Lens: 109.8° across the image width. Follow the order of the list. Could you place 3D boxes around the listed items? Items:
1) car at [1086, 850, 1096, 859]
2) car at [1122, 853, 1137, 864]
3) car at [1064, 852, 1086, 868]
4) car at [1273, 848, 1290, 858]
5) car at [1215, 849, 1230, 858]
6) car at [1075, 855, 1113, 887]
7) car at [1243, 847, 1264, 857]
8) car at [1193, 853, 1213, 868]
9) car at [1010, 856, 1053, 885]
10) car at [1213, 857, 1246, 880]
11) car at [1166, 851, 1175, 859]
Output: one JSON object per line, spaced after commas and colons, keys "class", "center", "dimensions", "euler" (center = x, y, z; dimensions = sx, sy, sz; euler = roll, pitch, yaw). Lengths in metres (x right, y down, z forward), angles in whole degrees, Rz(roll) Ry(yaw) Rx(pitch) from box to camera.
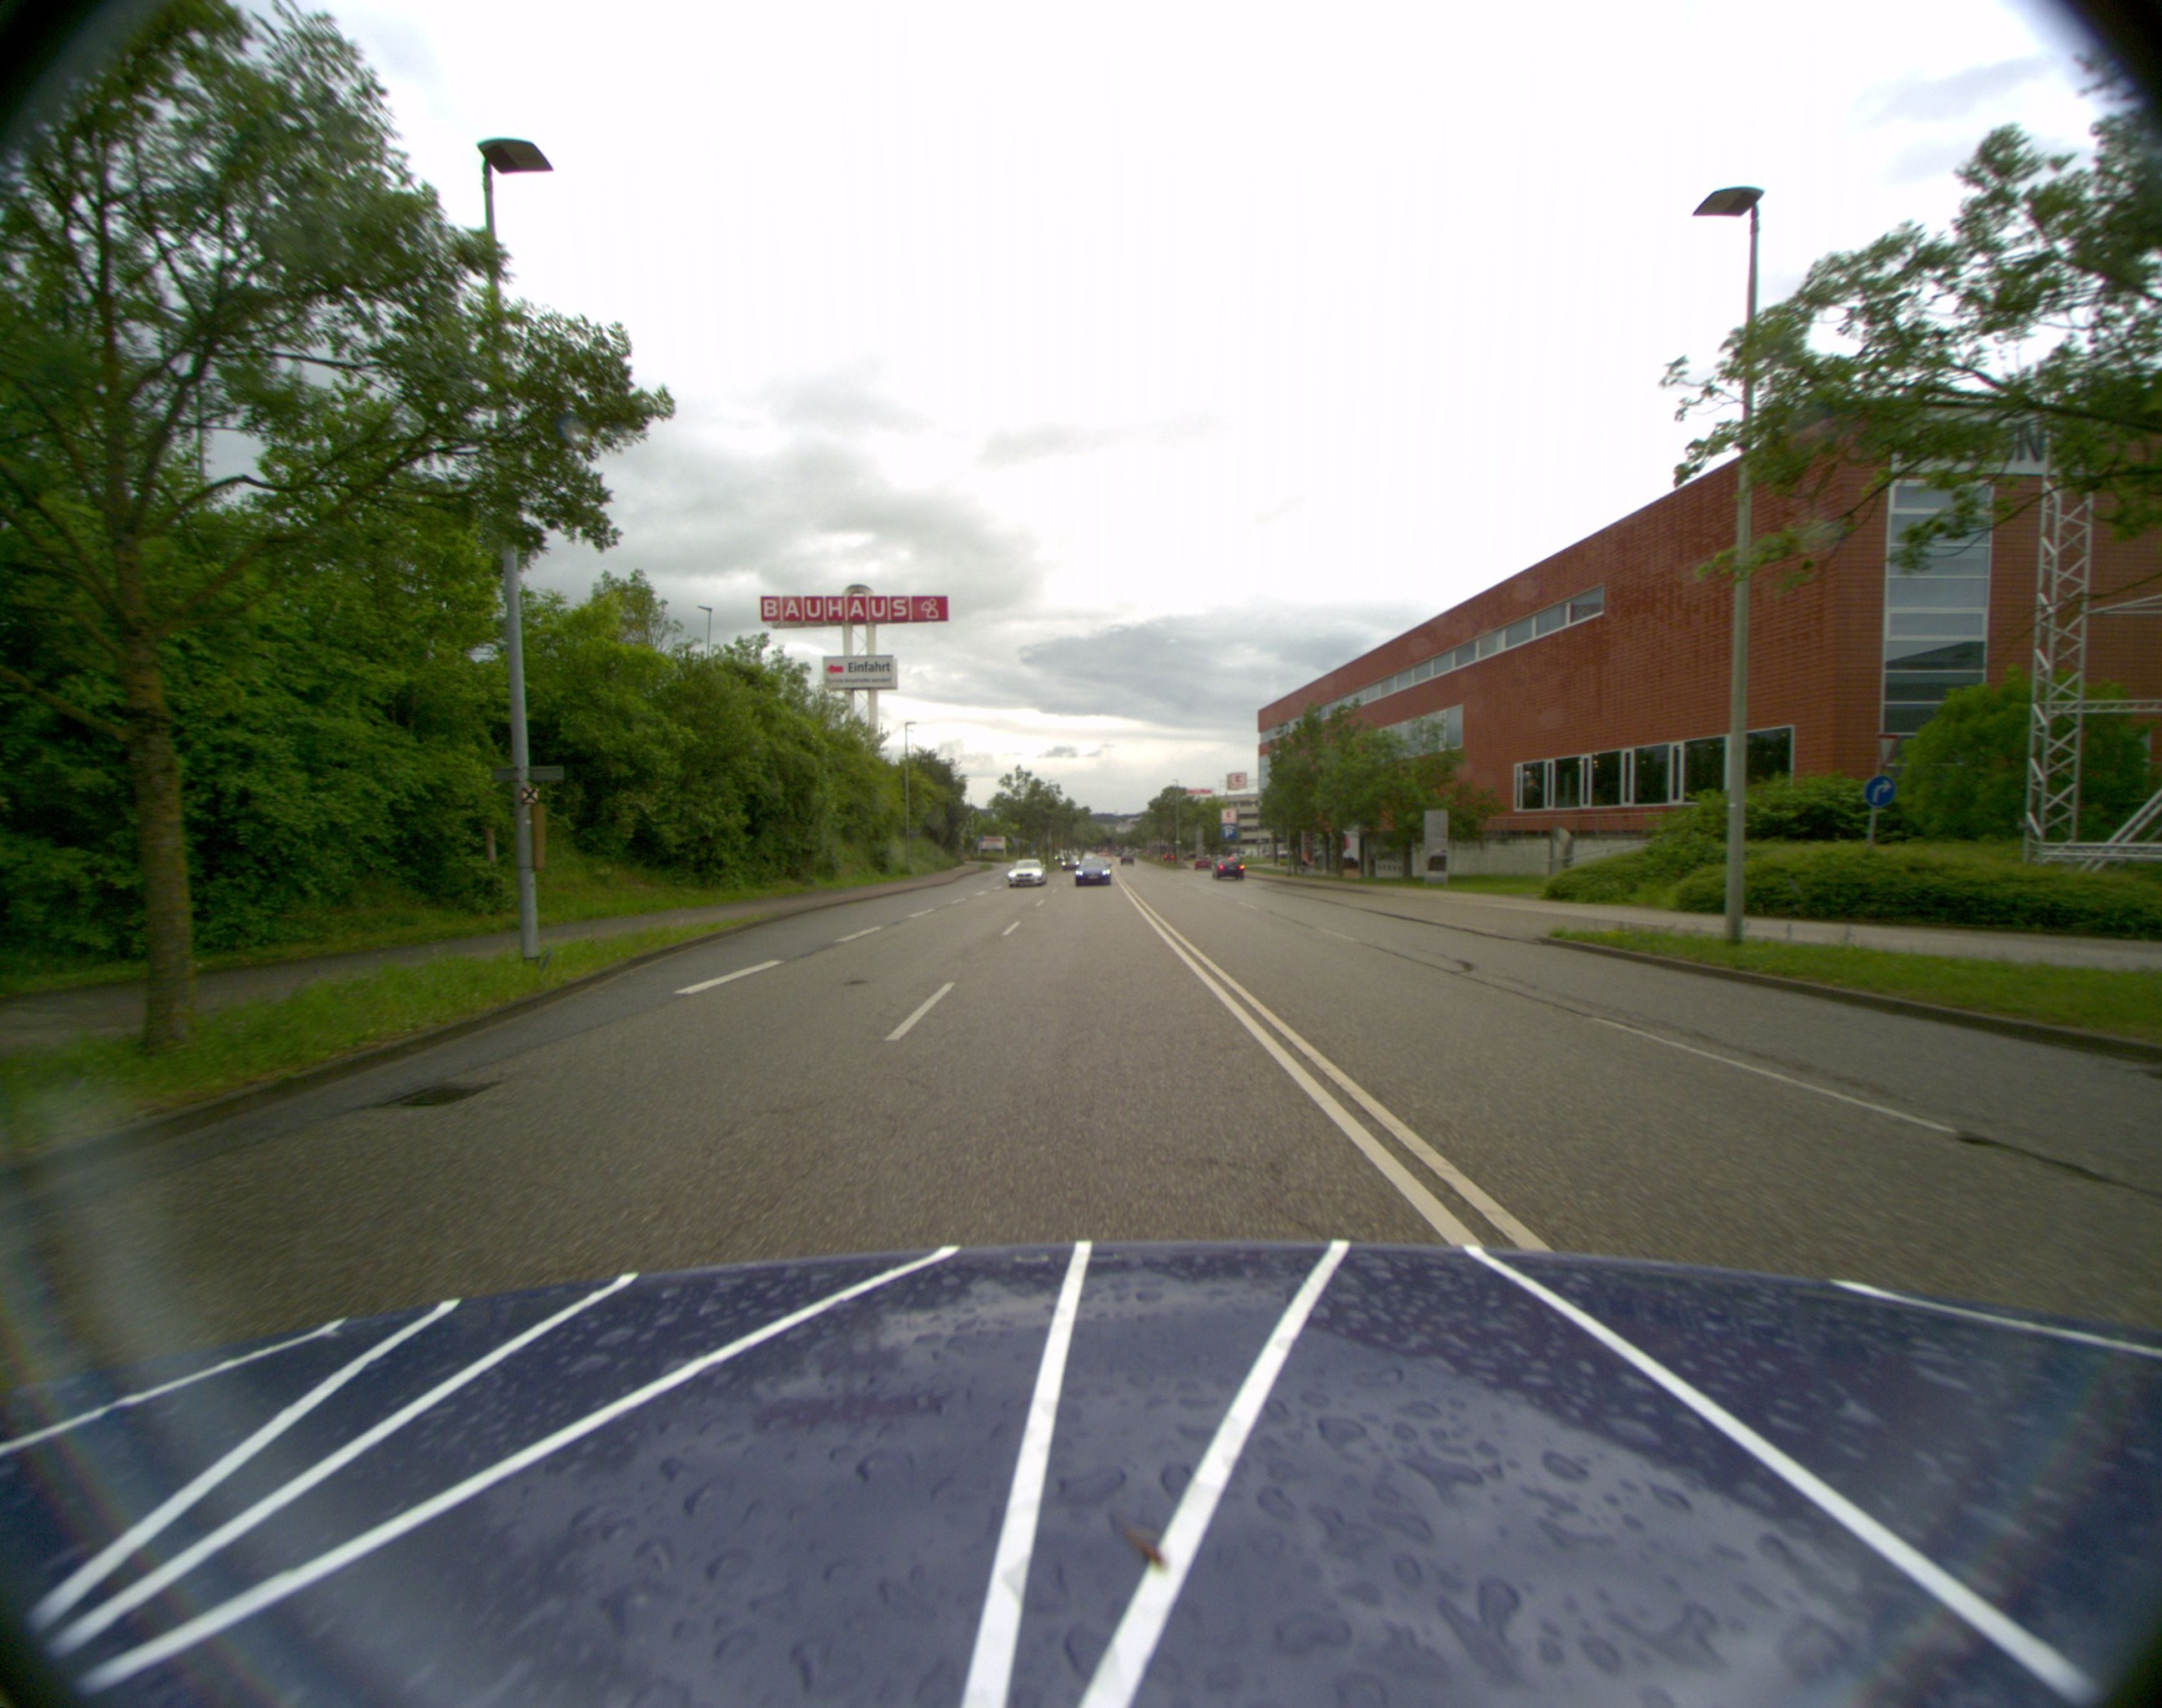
{"class": "car", "center": [1.901, 0.073, 147.775], "dimensions": [1.853, 1.565, 3.998], "euler": [-2, 1, -2]}
{"class": "car", "center": [6.864, 0.591, 108.074], "dimensions": [1.863, 1.568, 4.321], "euler": [1, 0, 2]}
{"class": "car", "center": [-0.633, 0.656, 81.418], "dimensions": [2.114, 1.610, 4.840], "euler": [-2, 0, 1]}
{"class": "car", "center": [26.874, -0.109, 102.003], "dimensions": [1.509, 1.276, 3.450], "euler": [-2, 1, 2]}
{"class": "car", "center": [25.564, -0.125, 137.128], "dimensions": [1.833, 1.608, 4.062], "euler": [-1, 0, -1]}
{"class": "car", "center": [0.712, 0.837, 39.652], "dimensions": [1.827, 1.473, 4.840], "euler": [-2, 0, 1]}
{"class": "car", "center": [26.667, -0.294, 117.838], "dimensions": [1.834, 1.608, 4.437], "euler": [-1, 0, -6]}
{"class": "car", "center": [12.996, 0.694, 81.124], "dimensions": [1.679, 1.497, 4.217], "euler": [0, 0, 4]}
{"class": "car", "center": [-2.719, 0.900, 42.448], "dimensions": [1.863, 1.473, 4.001], "euler": [-1, 0, 4]}
{"class": "car", "center": [9.918, 0.941, 50.907], "dimensions": [1.740, 1.445, 4.001], "euler": [1, 0, 5]}
{"class": "car", "center": [17.988, 0.215, 152.811], "dimensions": [1.832, 1.608, 4.002], "euler": [-2, 0, 7]}
